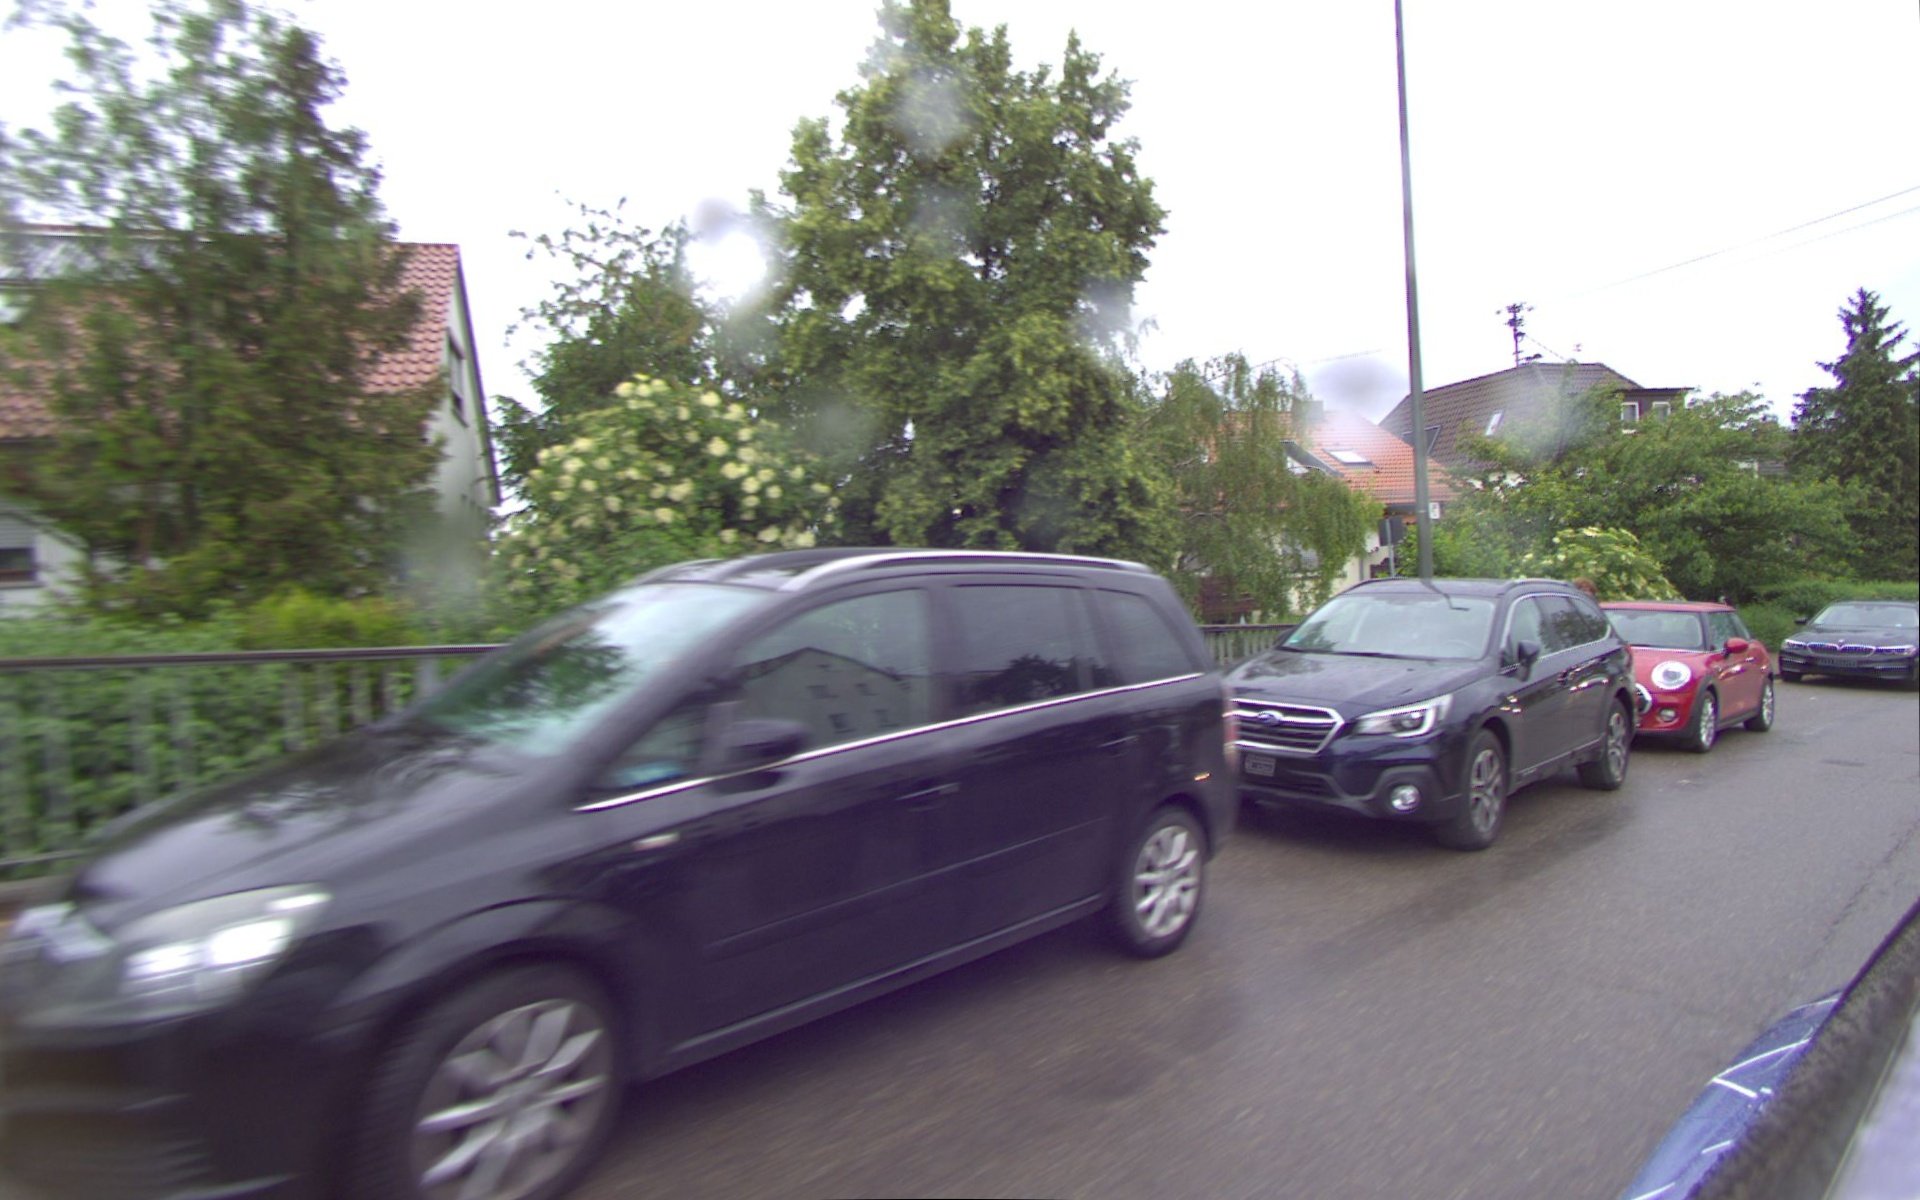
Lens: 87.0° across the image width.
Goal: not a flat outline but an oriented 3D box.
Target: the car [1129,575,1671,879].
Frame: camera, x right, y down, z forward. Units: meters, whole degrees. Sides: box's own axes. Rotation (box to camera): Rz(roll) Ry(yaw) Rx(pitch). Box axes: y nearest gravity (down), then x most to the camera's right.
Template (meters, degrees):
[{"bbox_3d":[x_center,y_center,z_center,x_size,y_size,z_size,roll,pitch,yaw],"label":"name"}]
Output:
[{"bbox_3d":[3.402,0.597,7.302,4.643,1.525,1.819,-1,1,-42],"label":"car"}]

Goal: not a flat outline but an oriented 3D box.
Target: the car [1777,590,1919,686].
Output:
[{"bbox_3d":[16.294,0.573,17.877,4.700,1.477,1.798,0,1,-37],"label":"car"}]

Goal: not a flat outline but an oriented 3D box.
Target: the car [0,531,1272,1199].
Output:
[{"bbox_3d":[-0.696,0.629,3.702,4.281,1.560,1.646,-1,1,-44],"label":"car"}]

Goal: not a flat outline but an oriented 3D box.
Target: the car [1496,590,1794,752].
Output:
[{"bbox_3d":[7.539,0.619,11.018,3.784,1.432,1.739,-1,1,-40],"label":"car"}]

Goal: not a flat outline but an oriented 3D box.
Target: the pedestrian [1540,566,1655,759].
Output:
[{"bbox_3d":[5.804,0.534,9.219,0.695,1.656,0.718,0,0,-41],"label":"pedestrian"}]
